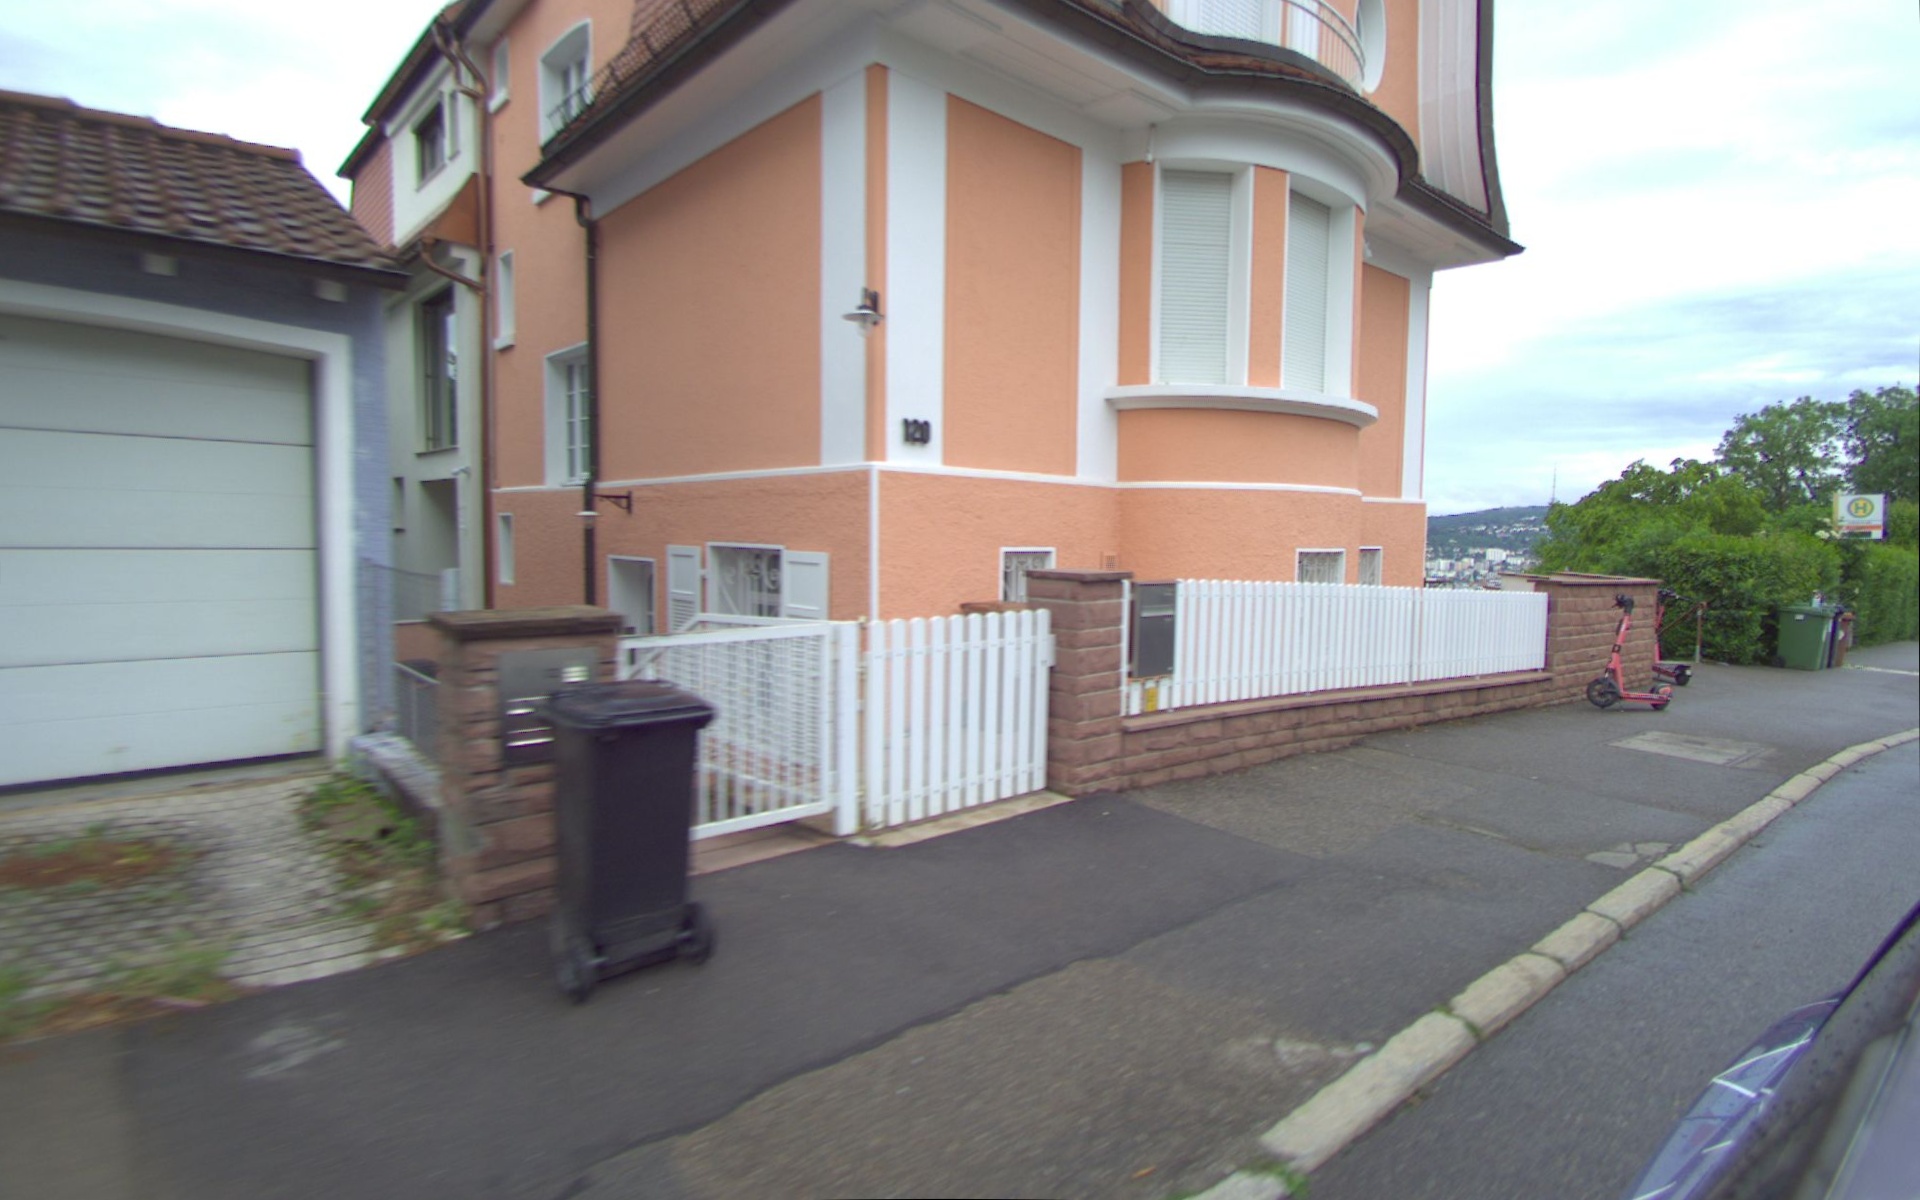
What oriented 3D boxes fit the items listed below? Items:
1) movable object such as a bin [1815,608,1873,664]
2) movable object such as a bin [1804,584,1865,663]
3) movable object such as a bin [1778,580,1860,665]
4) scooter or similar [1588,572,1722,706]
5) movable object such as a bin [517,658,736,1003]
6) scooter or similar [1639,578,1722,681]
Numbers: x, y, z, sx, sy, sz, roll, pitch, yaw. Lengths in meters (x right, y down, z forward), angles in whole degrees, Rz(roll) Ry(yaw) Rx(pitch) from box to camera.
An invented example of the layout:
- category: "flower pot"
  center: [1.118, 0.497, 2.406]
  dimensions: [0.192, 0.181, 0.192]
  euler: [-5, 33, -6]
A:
- category: "movable object such as a bin"
  center: [14.874, 0.592, 17.035]
  dimensions: [0.579, 0.874, 0.614]
  euler: [0, 2, -38]
- category: "movable object such as a bin"
  center: [14.371, 0.369, 16.628]
  dimensions: [0.671, 1.261, 0.614]
  euler: [0, 2, -38]
- category: "movable object such as a bin"
  center: [13.712, 0.342, 16.157]
  dimensions: [0.900, 1.260, 0.727]
  euler: [0, 6, -38]
- category: "scooter or similar"
  center: [7.665, 0.412, 11.155]
  dimensions: [1.447, 1.420, 0.357]
  euler: [0, 2, -17]
- category: "movable object such as a bin"
  center: [-1.102, 0.700, 3.322]
  dimensions: [0.480, 0.929, 0.533]
  euler: [-1, 5, -43]
- category: "scooter or similar"
  center: [9.809, 0.370, 13.823]
  dimensions: [0.350, 1.287, 1.291]
  euler: [1, 4, 10]
